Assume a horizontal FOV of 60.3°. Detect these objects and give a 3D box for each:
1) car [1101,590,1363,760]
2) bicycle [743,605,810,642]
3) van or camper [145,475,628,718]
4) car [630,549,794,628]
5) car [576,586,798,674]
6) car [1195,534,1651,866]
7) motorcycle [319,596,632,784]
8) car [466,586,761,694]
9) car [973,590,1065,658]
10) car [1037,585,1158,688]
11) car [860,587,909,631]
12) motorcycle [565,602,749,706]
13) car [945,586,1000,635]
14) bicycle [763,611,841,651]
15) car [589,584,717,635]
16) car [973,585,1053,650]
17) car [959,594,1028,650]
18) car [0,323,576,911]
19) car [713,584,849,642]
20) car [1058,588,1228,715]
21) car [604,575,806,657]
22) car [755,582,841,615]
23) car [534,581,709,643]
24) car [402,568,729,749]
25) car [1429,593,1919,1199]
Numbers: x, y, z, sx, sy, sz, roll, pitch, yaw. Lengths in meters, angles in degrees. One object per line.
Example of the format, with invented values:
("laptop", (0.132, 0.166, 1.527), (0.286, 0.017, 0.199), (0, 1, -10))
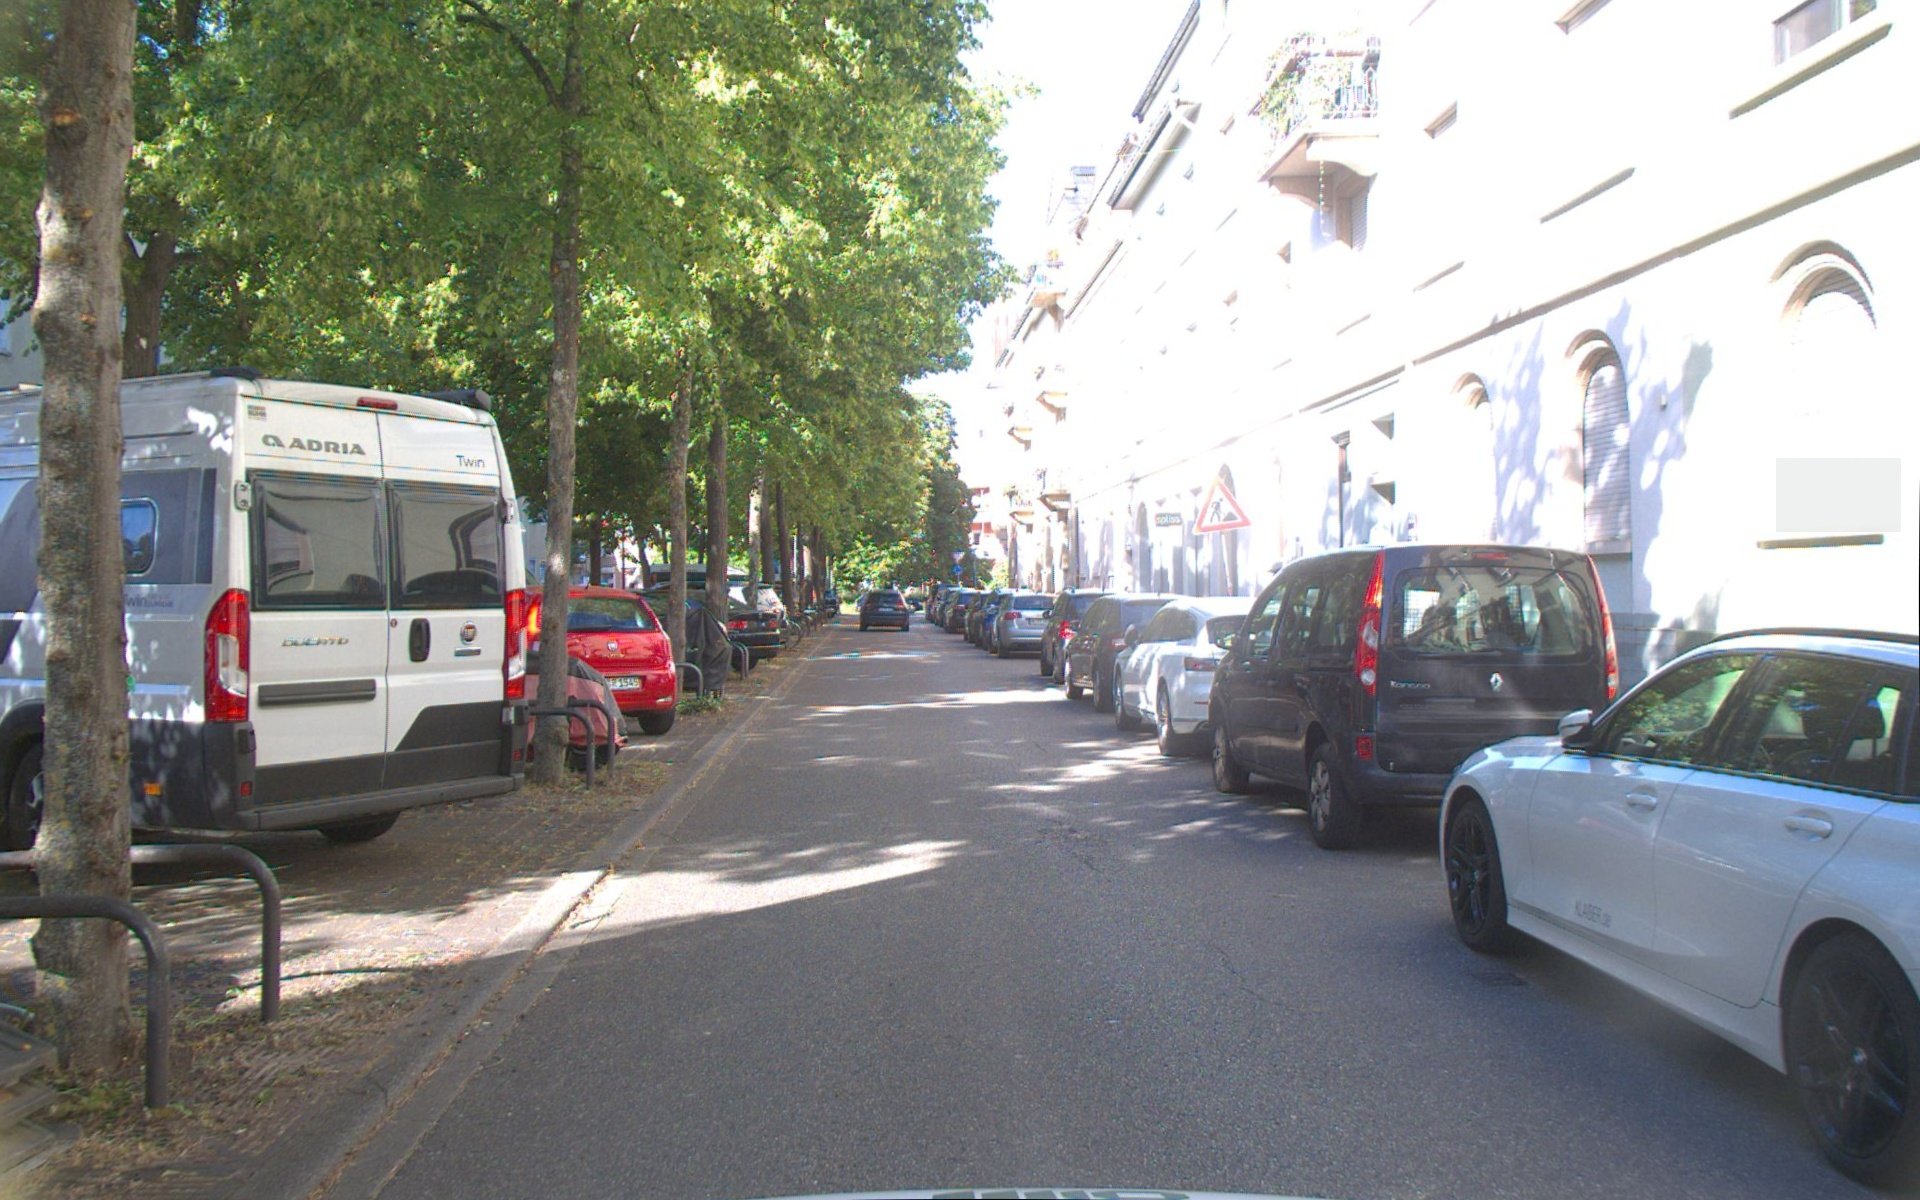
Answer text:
("car", (2.551, 0.636, 16.596), (1.575, 1.445, 4.565), (-1, 0, -4))
("bicycle", (-5.026, 0.647, 45.334), (1.772, 1.011, 0.426), (0, 0, 12))
("van or camper", (-7.671, -0.083, 22.006), (6.162, 2.874, 2.405), (1, 0, 26))
("car", (-9.958, -0.434, 66.613), (5.936, 2.668, 2.457), (-4, -2, 12))
("car", (-5.019, 0.548, 30.269), (3.935, 1.499, 1.622), (-1, 0, 32))
("car", (2.885, 0.542, 11.257), (1.736, 1.825, 3.986), (-1, 0, -4))
("motorcycle", (-3.777, 0.671, 13.117), (2.278, 1.358, 0.966), (-1, 0, -13))
("car", (-5.024, 0.546, 23.871), (4.065, 1.450, 1.712), (0, -1, 29))
("car", (1.283, 0.508, 37.842), (1.734, 1.456, 4.288), (-1, 0, -3))
("car", (2.205, 0.555, 27.460), (1.548, 1.578, 4.040), (0, 0, -2))
("car", (-2.728, 0.307, 60.142), (1.679, 1.509, 4.143), (-1, 0, -2))
("motorcycle", (-3.777, 0.659, 20.717), (2.102, 1.251, 0.882), (0, 0, 6))
("car", (0.399, 0.345, 57.672), (1.769, 1.591, 4.319), (-1, 0, -2))
("bicycle", (-3.830, 0.742, 40.089), (1.858, 0.935, 0.379), (1, 0, 17))
("car", (-10.111, 0.308, 54.443), (3.828, 1.583, 1.844), (-1, 0, 28))
("car", (1.334, 0.411, 42.924), (1.732, 1.579, 4.181), (-1, 0, -3))
("car", (0.921, 0.590, 47.307), (1.658, 1.493, 4.002), (1, 0, -3))
("car", (-5.442, 0.066, 9.878), (6.188, 2.603, 2.334), (0, 0, 29))
("car", (-5.332, 0.366, 49.262), (3.607, 1.624, 1.772), (1, 0, 22))
("car", (2.348, 0.619, 22.143), (1.567, 1.518, 3.963), (-1, 0, -4))
("car", (-5.572, 0.320, 36.115), (3.994, 1.682, 1.862), (1, 0, 24))
("car", (-7.877, -0.052, 80.474), (4.015, 1.492, 1.862), (1, -1, -11))
("car", (-8.487, 0.280, 41.466), (4.022, 1.498, 1.870), (0, 0, 26))
("car", (-4.175, 0.543, 17.153), (1.650, 1.646, 3.820), (-2, 0, -42))
("car", (3.118, 0.758, 5.564), (1.670, 1.538, 4.281), (-1, 0, -3))
